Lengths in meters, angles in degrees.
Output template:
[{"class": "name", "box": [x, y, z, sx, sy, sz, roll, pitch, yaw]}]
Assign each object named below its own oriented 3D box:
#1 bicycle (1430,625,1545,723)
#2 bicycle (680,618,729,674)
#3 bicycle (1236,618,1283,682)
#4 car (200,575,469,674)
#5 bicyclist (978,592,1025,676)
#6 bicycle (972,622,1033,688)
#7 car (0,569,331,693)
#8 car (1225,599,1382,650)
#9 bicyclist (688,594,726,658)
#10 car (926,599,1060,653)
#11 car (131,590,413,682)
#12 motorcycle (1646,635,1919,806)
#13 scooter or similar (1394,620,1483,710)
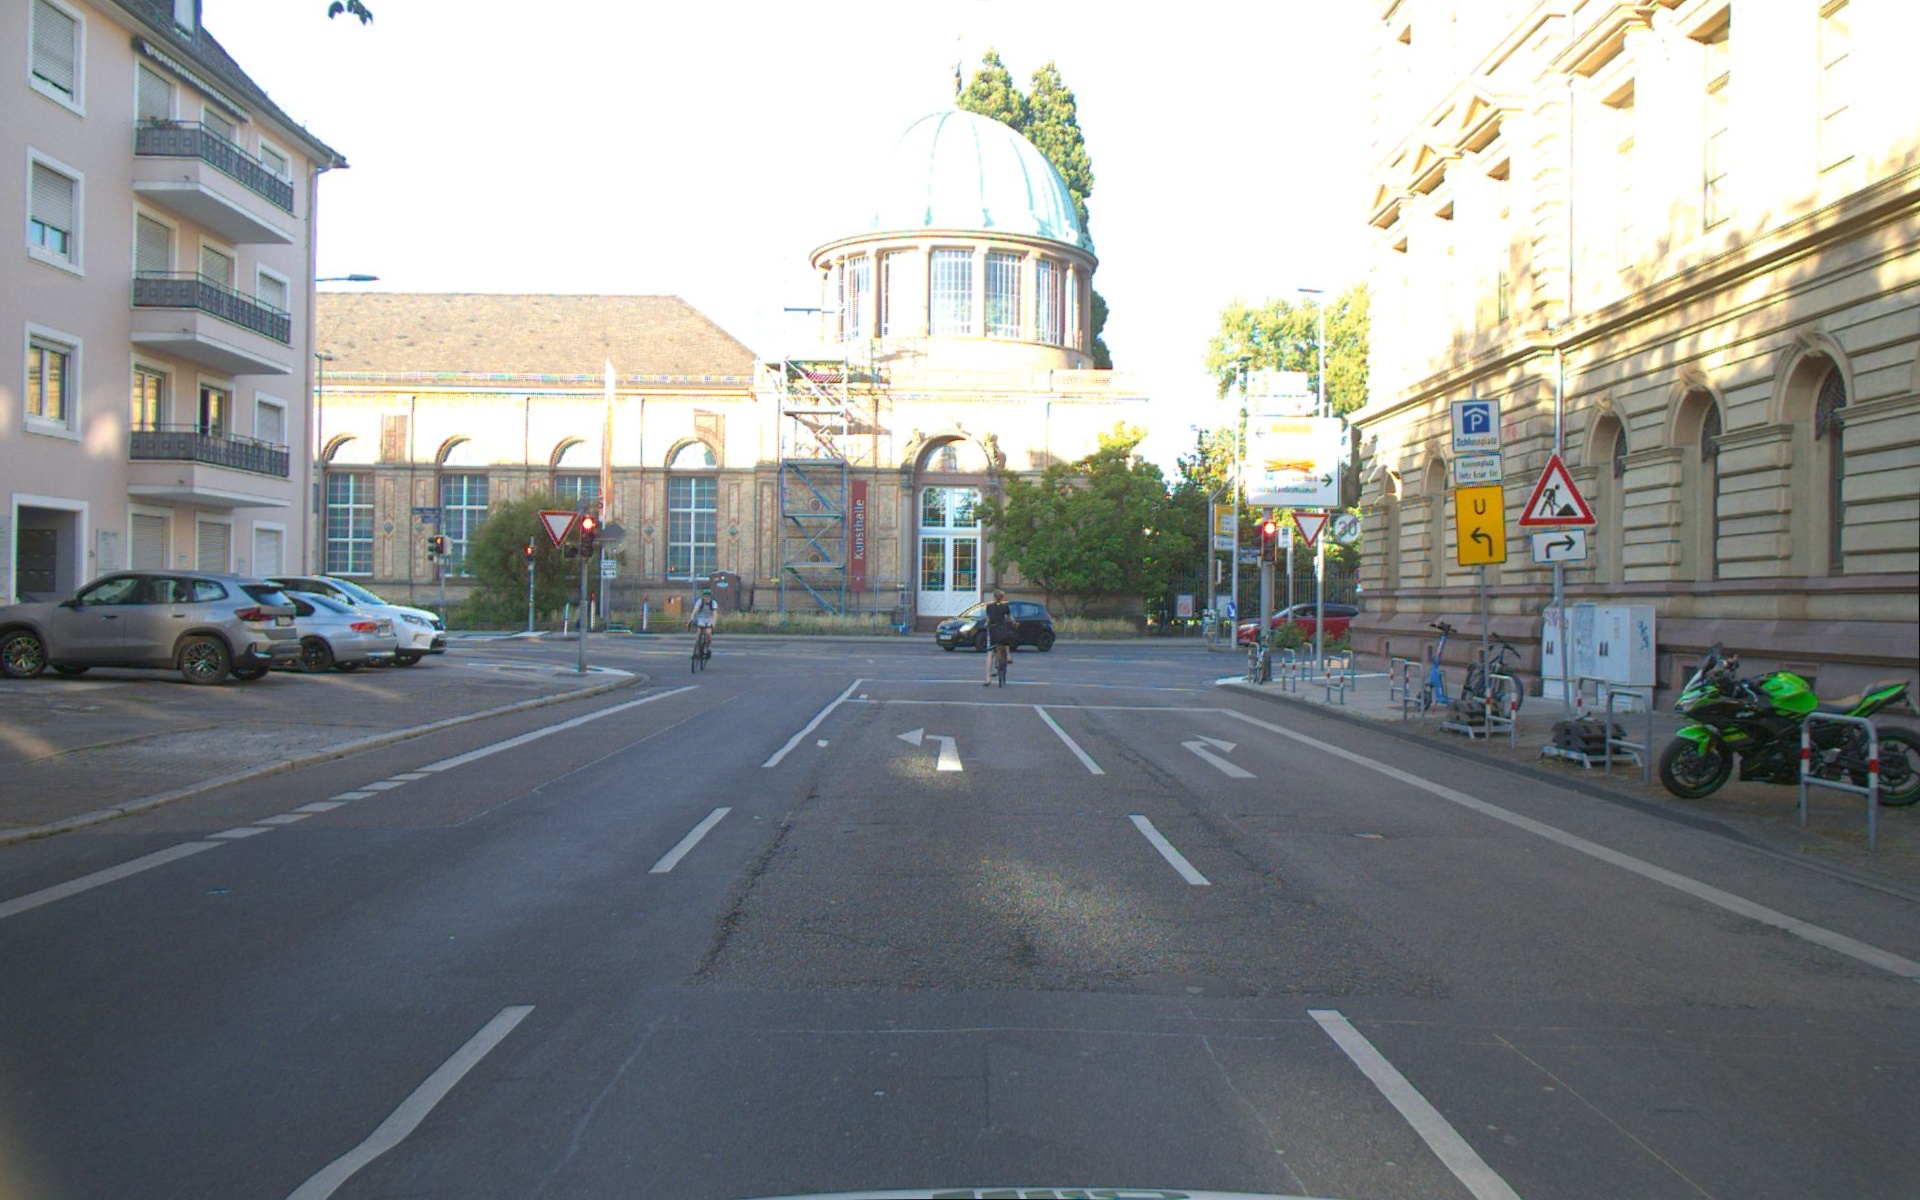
[{"class": "bicycle", "box": [6.826, 0.934, 21.504, 0.810, 1.154, 1.944, -2, 0, 0]}, {"class": "bicycle", "box": [-5.575, 1.002, 36.155, 0.611, 1.176, 2.053, 0, -2, 4]}, {"class": "bicycle", "box": [5.843, 0.982, 32.370, 0.570, 1.209, 1.920, 0, -2, 0]}, {"class": "car", "box": [-11.922, 0.461, 31.745, 4.351, 1.669, 1.941, 2, 0, -2]}, {"class": "bicyclist", "box": [0.780, 0.627, 30.605, 0.701, 1.529, 0.851, 0, -2, 14]}, {"class": "bicycle", "box": [0.804, 1.011, 30.726, 0.696, 1.176, 2.070, 0, -2, 14]}, {"class": "car", "box": [-11.950, 0.441, 24.704, 4.329, 1.633, 1.915, 2, 0, -2]}, {"class": "car", "box": [11.227, 0.774, 54.235, 4.736, 1.572, 1.835, -1, 0, -4]}, {"class": "bicyclist", "box": [-5.553, 0.572, 36.294, 0.612, 1.388, 0.929, 0, -2, 4]}, {"class": "car", "box": [1.002, 0.740, 49.286, 3.811, 1.497, 1.642, -1, 1, -36]}, {"class": "car", "box": [-12.027, 0.616, 29.110, 4.181, 1.404, 1.735, 2, 0, -2]}, {"class": "motorcycle", "box": [6.493, 0.915, 12.851, 2.058, 1.236, 0.709, -2, 0, 29]}, {"class": "scooter or similar", "box": [6.664, 0.898, 23.078, 1.106, 1.216, 0.584, 1, 0, 7]}]
